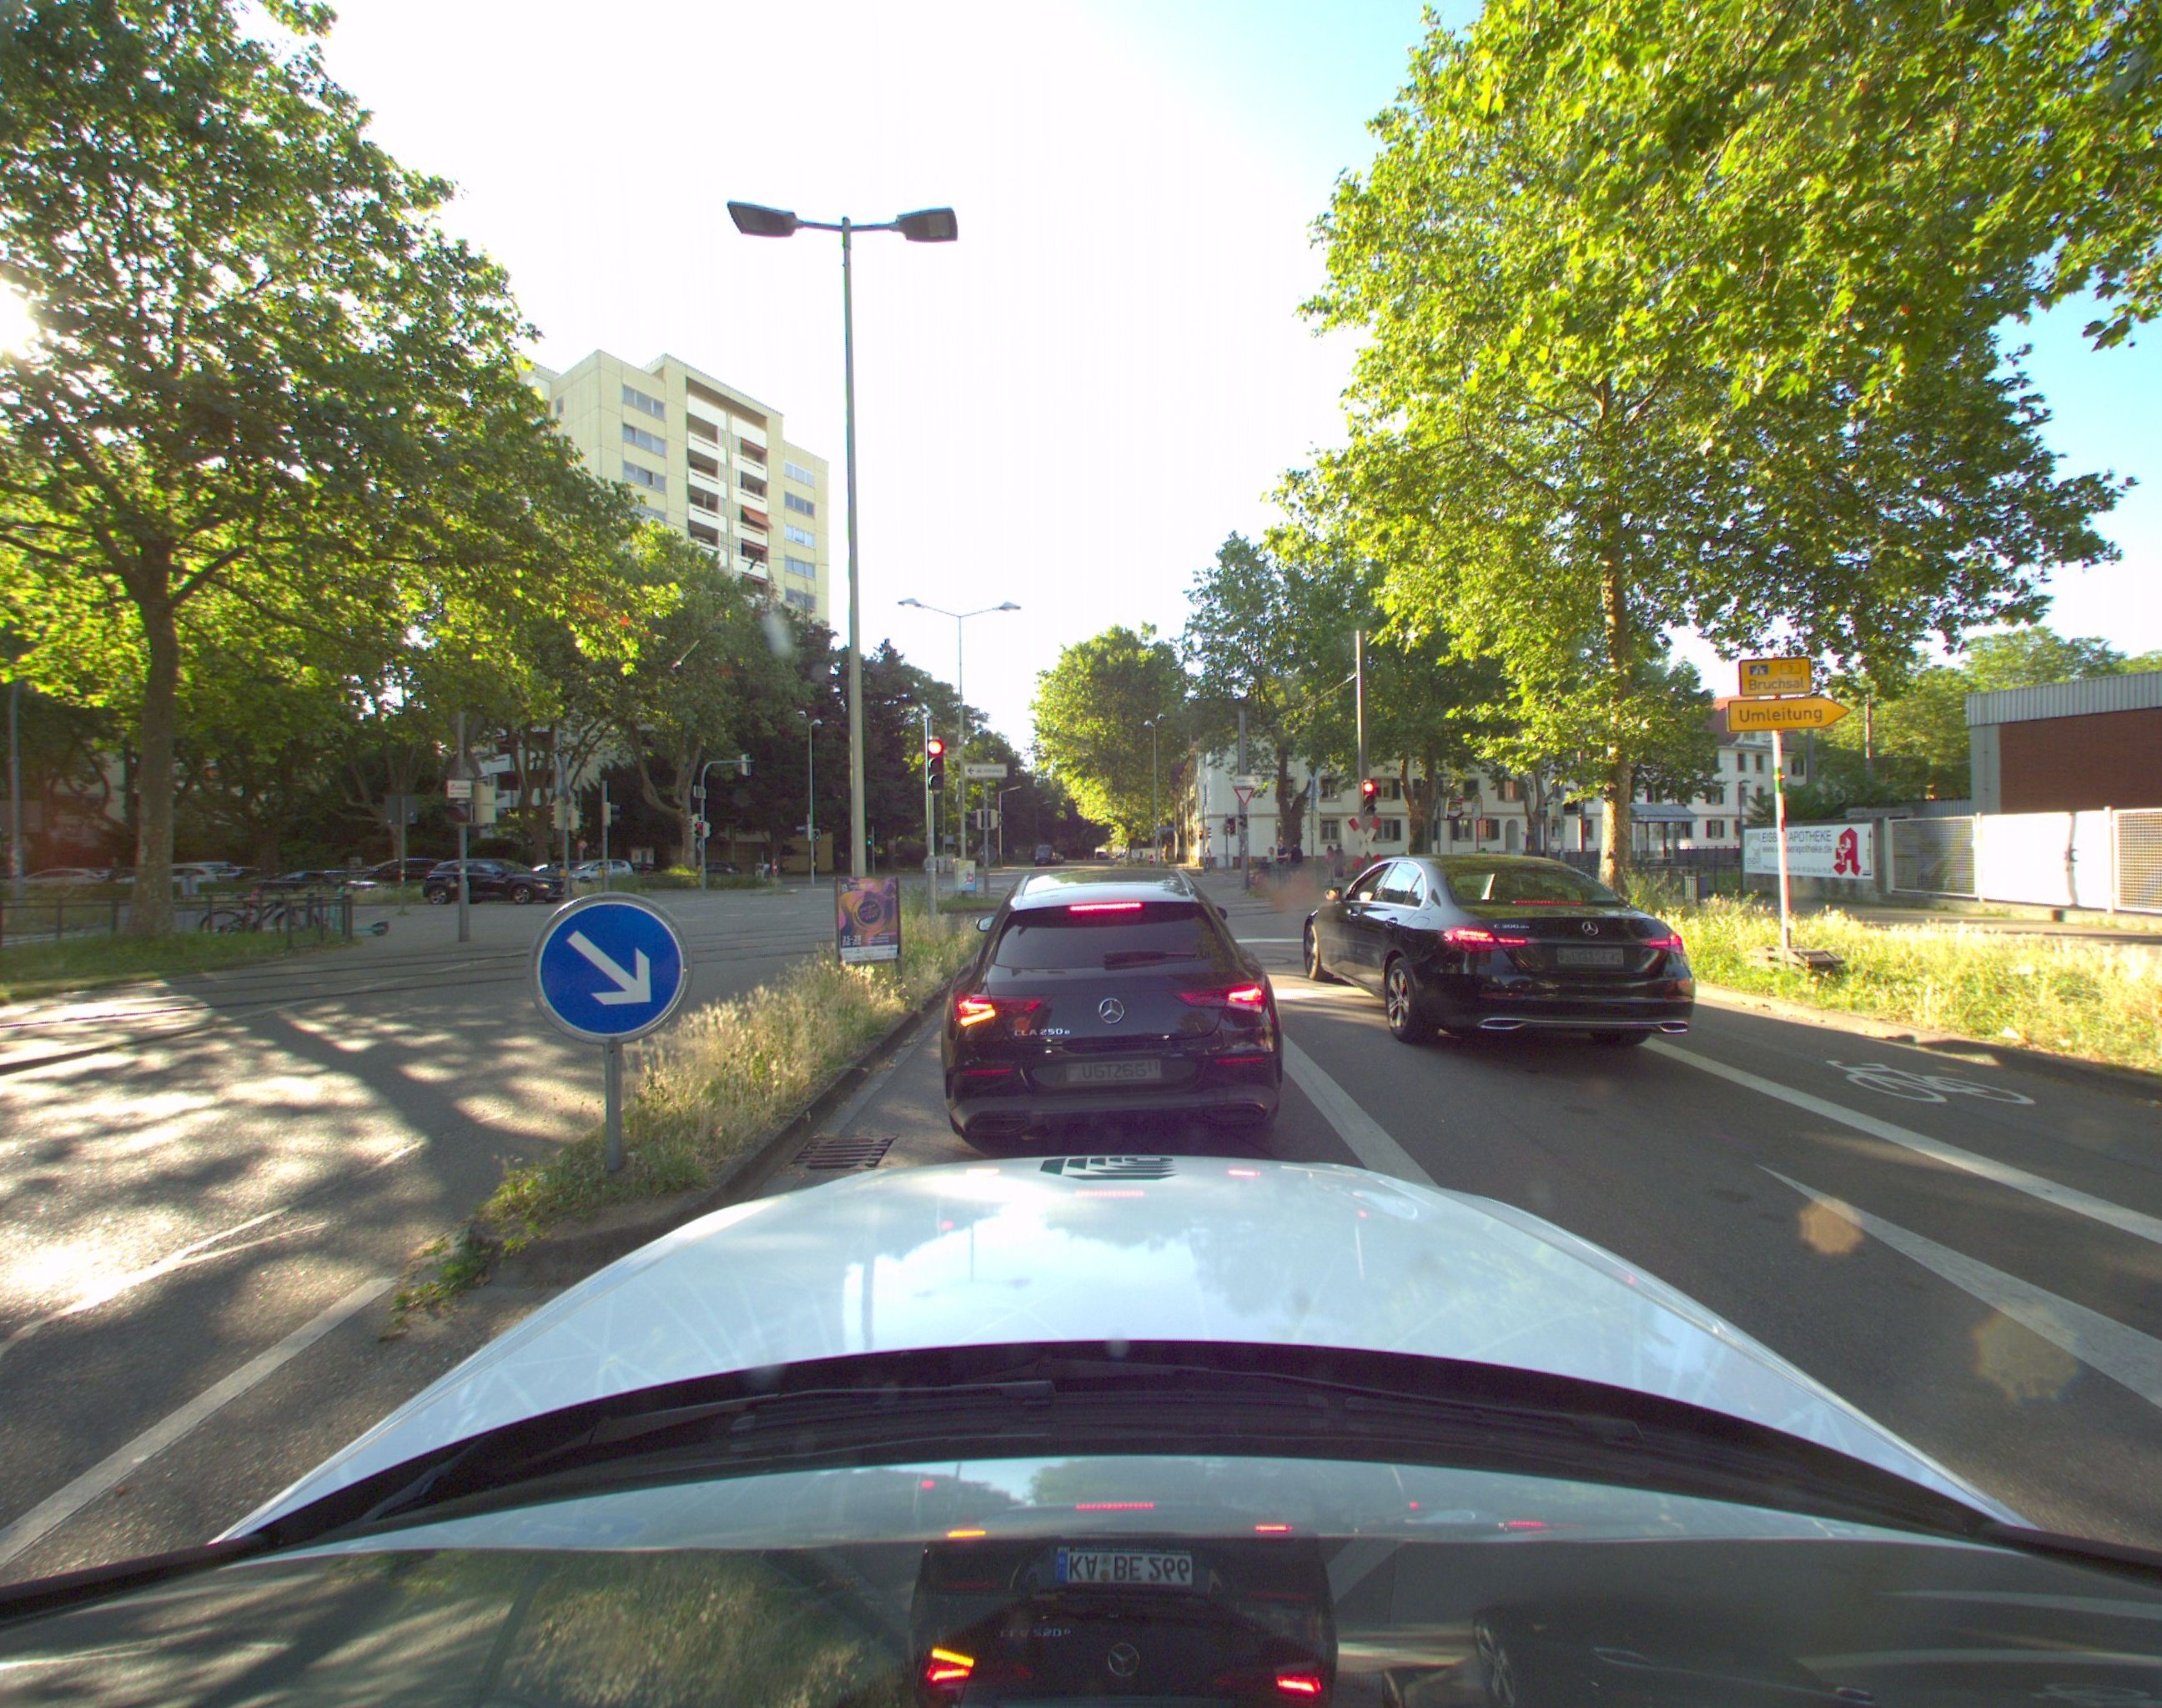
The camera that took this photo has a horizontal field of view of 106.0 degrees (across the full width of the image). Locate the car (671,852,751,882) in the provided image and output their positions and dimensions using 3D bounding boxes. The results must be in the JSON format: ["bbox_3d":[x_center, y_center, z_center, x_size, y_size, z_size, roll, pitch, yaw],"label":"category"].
[{"bbox_3d":[-22.638,0.799,49.935,3.963,1.774,2.005,-1,-1,9],"label":"car"}]

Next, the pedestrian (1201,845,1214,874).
[{"bbox_3d":[8.398,0.370,54.021,0.703,1.918,0.838,0,-1,-2],"label":"pedestrian"}]

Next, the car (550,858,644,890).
[{"bbox_3d":[-24.923,1.006,42.039,1.716,1.596,3.831,-1,-1,32],"label":"car"}]

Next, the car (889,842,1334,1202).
[{"bbox_3d":[0.237,0.684,5.464,1.881,1.450,4.004,0,2,3],"label":"car"}]

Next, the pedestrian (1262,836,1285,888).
[{"bbox_3d":[7.288,0.298,30.868,0.681,1.918,0.707,0,-1,-2],"label":"pedestrian"}]

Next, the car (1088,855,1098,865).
[{"bbox_3d":[2.111,1.009,145.746,1.727,1.765,4.020,0,-1,2],"label":"car"}]

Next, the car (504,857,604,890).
[{"bbox_3d":[-27.218,0.974,42.172,1.716,1.596,4.025,-1,-1,32],"label":"car"}]

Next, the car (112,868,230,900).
[{"bbox_3d":[-49.159,1.587,44.084,1.716,1.596,4.025,-1,-1,32],"label":"car"}]

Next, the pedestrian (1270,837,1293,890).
[{"bbox_3d":[7.413,0.344,30.091,0.680,1.918,0.707,0,-1,0],"label":"pedestrian"}]

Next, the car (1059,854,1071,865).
[{"bbox_3d":[-2.465,0.829,126.686,1.727,1.765,3.972,0,-1,2],"label":"car"}]

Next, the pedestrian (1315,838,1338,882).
[{"bbox_3d":[10.723,0.259,35.567,0.703,1.918,0.838,0,-1,-2],"label":"pedestrian"}]

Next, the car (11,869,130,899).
[{"bbox_3d":[-57.099,1.664,46.087,1.716,1.596,4.025,-1,-1,32],"label":"car"}]

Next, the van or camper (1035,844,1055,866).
[{"bbox_3d":[-4.413,0.130,100.060,1.986,2.541,4.653,0,-1,2],"label":"van or camper"}]

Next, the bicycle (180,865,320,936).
[{"bbox_3d":[-15.954,0.869,15.680,1.845,1.307,0.380,0,-1,-26],"label":"bicycle"}]

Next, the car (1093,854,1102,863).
[{"bbox_3d":[3.255,0.903,158.633,1.727,1.765,4.020,0,-1,2],"label":"car"}]

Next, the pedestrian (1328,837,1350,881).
[{"bbox_3d":[11.574,0.231,36.548,0.703,1.918,0.838,0,-1,-2],"label":"pedestrian"}]

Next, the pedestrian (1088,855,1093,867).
[{"bbox_3d":[1.544,1.053,130.210,0.704,1.918,0.837,0,-1,-8],"label":"pedestrian"}]

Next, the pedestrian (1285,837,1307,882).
[{"bbox_3d":[9.281,0.250,35.225,0.703,1.918,0.838,0,-1,-2],"label":"pedestrian"}]

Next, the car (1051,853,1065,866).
[{"bbox_3d":[-3.258,0.759,117.402,1.727,1.765,4.087,0,-1,2],"label":"car"}]

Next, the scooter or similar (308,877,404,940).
[{"bbox_3d":[-15.093,1.107,16.992,0.408,1.239,1.450,-1,-1,40],"label":"scooter or similar"}]

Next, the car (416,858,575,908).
[{"bbox_3d":[-19.509,0.941,27.285,3.981,1.596,1.735,0,-1,-5],"label":"car"}]

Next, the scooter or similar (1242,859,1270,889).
[{"bbox_3d":[6.522,0.752,30.392,0.826,1.104,0.808,0,-1,-4],"label":"scooter or similar"}]

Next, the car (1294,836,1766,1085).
[{"bbox_3d":[3.366,0.621,7.269,1.883,1.490,4.383,0,2,1],"label":"car"}]

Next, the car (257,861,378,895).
[{"bbox_3d":[-37.413,1.145,40.010,1.716,1.596,4.025,-1,-1,32],"label":"car"}]

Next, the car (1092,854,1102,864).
[{"bbox_3d":[2.923,0.981,150.551,1.727,1.765,4.020,0,-1,2],"label":"car"}]
